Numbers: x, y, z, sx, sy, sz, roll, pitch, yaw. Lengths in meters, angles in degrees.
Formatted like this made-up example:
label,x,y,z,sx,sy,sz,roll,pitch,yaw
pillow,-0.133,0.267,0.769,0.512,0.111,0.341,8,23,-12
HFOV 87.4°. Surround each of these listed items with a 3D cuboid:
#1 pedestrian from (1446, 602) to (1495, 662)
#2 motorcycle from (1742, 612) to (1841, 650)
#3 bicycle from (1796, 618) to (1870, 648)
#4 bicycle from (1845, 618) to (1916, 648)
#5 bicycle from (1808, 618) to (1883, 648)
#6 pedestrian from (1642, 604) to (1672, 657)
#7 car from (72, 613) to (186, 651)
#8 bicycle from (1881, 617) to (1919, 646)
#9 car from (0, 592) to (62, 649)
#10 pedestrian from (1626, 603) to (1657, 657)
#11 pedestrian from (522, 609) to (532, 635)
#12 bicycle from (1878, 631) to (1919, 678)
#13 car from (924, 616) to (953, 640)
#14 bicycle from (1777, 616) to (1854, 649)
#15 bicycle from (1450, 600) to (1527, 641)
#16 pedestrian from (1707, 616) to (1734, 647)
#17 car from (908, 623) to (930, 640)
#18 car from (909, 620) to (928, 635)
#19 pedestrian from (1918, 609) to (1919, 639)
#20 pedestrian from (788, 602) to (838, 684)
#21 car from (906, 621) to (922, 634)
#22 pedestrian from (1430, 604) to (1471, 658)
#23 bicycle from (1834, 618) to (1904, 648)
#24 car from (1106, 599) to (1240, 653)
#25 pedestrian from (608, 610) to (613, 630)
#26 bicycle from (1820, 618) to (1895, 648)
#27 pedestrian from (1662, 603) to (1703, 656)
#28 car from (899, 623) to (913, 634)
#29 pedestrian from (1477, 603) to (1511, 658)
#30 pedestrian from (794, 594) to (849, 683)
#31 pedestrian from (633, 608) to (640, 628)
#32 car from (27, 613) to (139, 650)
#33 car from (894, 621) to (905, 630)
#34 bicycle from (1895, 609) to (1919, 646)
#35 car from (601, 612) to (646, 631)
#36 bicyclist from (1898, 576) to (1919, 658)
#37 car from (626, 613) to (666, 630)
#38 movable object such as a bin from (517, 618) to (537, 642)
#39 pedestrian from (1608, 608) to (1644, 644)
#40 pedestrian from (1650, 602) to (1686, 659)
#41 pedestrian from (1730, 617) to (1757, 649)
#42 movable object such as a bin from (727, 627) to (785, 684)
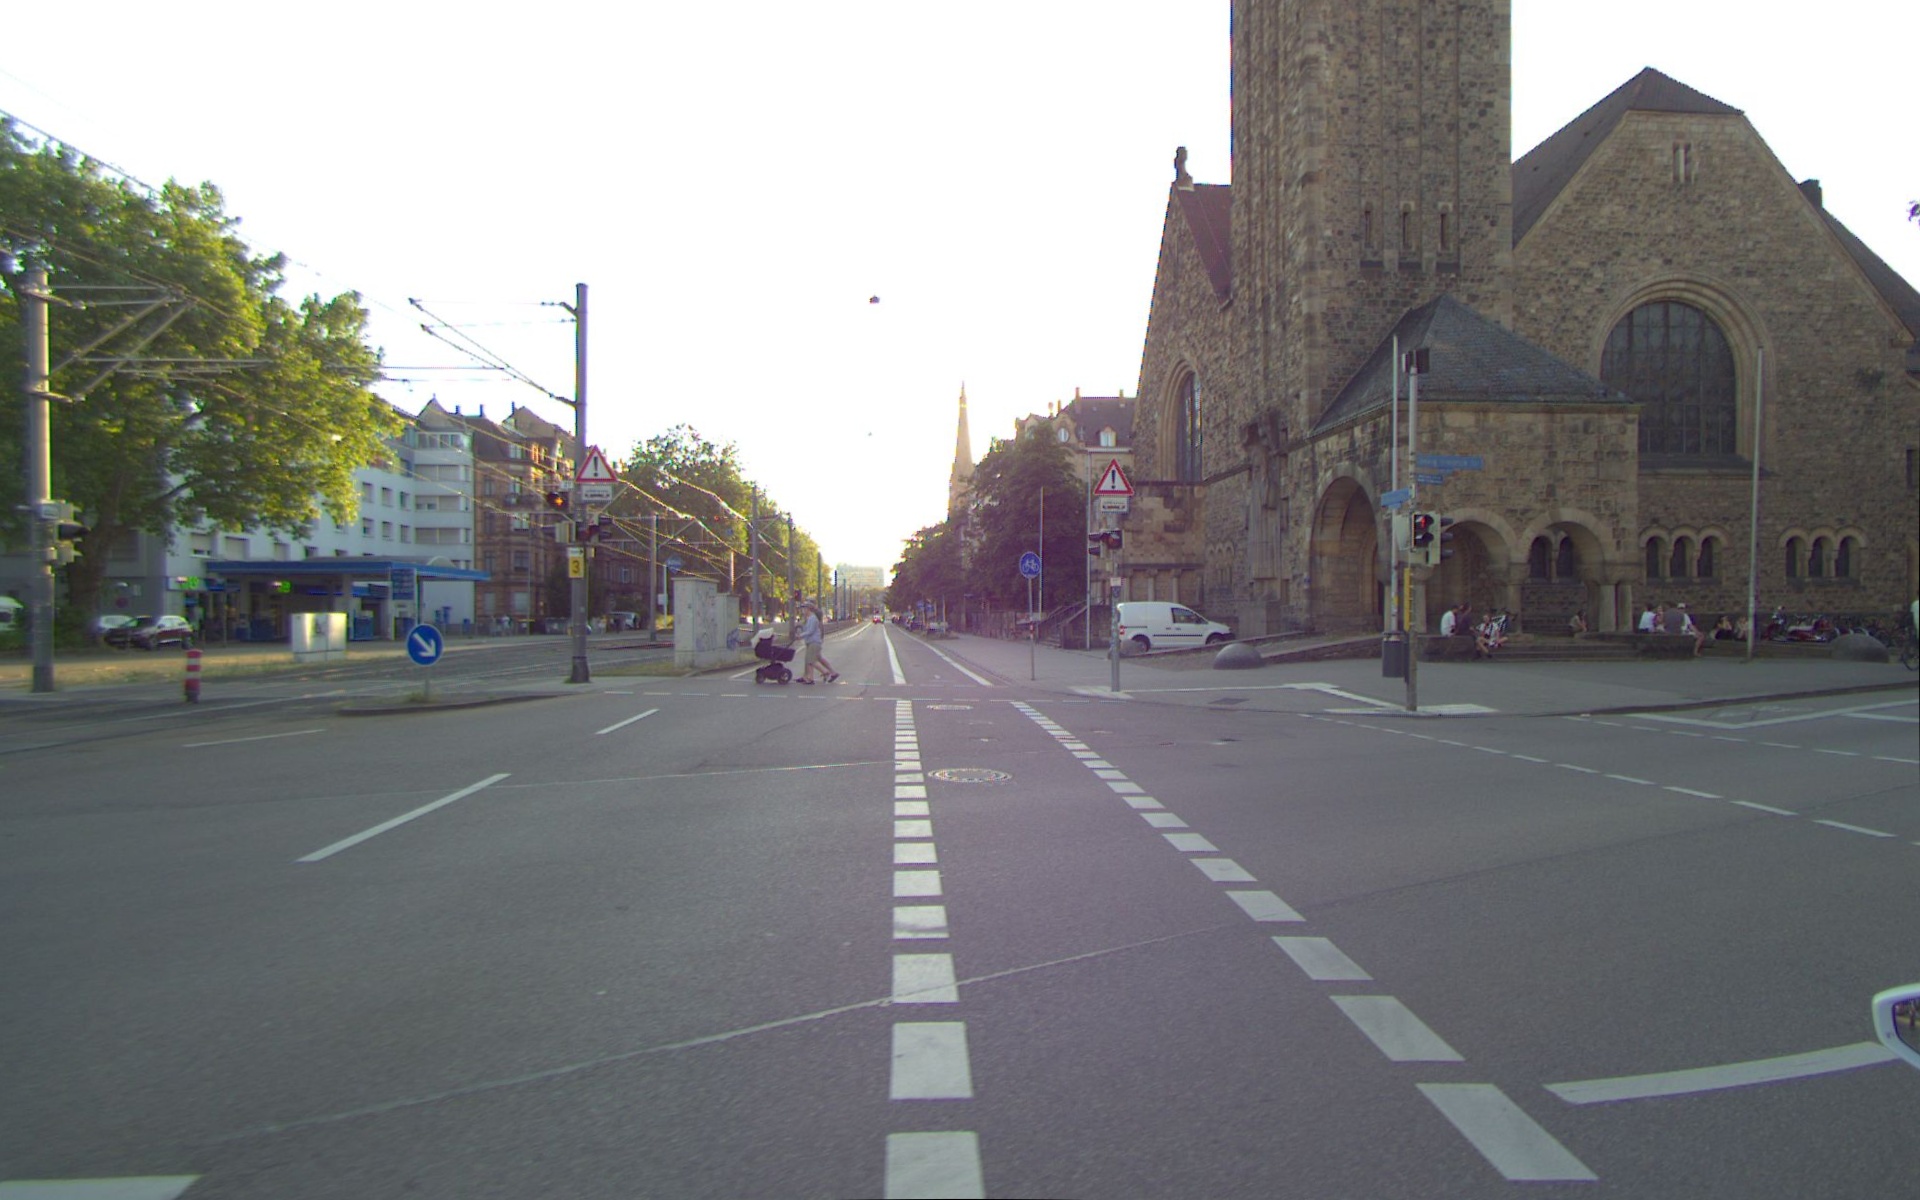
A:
label,x,y,z,sx,sy,sz,roll,pitch,yaw
pedestrian,12.804,0.796,25.216,0.897,1.473,0.630,0,-1,-3
motorcycle,27.528,1.009,33.318,0.811,1.141,2.407,0,1,-25
bicycle,29.652,1.108,34.166,0.458,1.002,2.003,0,-1,-14
bicycle,31.545,1.112,34.456,0.364,1.002,1.879,0,-1,-14
bicycle,30.150,1.108,34.238,0.458,1.002,2.003,0,-1,-14
pedestrian,18.952,0.830,27.333,0.449,1.425,0.548,0,-1,6
car,-37.854,1.434,45.900,1.961,1.634,3.999,0,-1,-2
bicycle,32.905,1.085,34.548,0.434,1.002,1.879,0,-1,-14
car,-45.656,0.955,47.403,1.962,2.653,5.575,0,-1,-5
pedestrian,18.129,0.802,26.724,0.537,1.425,0.402,0,-1,6
pedestrian,-33.468,1.706,77.707,0.547,2.040,0.608,0,-1,-4
bicycle,22.538,1.280,23.983,2.168,1.026,0.547,0,1,-38
car,-1.535,1.912,69.551,1.799,1.572,3.914,0,-1,-5
bicycle,28.999,1.083,34.077,0.576,1.003,2.002,0,2,-14
bicycle,14.622,0.562,27.877,0.584,1.071,2.281,0,-1,-11
pedestrian,24.255,1.007,32.046,0.551,0.980,0.649,-1,-1,27
car,-3.655,2.776,89.147,1.721,1.437,3.996,0,-1,-6
car,-4.276,2.823,102.664,1.721,1.437,3.996,0,-1,-6
pedestrian,34.507,0.856,35.648,0.596,1.062,0.498,0,0,-9
pedestrian,-3.049,0.884,20.850,0.989,1.656,0.719,0,0,-9
car,-5.511,3.223,119.462,1.721,1.437,3.996,0,-1,-6
pedestrian,12.669,0.797,25.957,0.685,1.393,0.804,0,-1,4
bicycle,31.095,1.112,34.393,0.364,1.002,1.879,0,-1,-14
car,7.388,0.901,35.101,4.321,1.832,1.584,0,-1,-3
pedestrian,-33.095,1.910,95.193,0.446,1.850,0.550,0,0,-22
bicycle,30.648,1.102,34.337,0.458,1.002,1.985,0,-1,-14
pedestrian,19.564,0.787,27.213,0.619,1.425,0.704,0,-1,6
car,-7.475,3.983,139.390,1.721,1.437,3.996,0,-1,-6
pedestrian,13.692,0.770,25.772,0.686,1.393,0.803,0,-1,22
pedestrian,-2.983,0.819,21.653,1.139,1.871,0.710,0,0,-9
pedestrian,-32.941,1.820,102.318,0.601,2.040,0.806,0,0,-7
car,-40.245,1.423,46.225,1.749,1.595,3.999,0,-1,-2
car,-11.161,4.681,184.539,1.721,1.437,3.996,0,-1,-6
bicycle,33.389,0.948,34.639,0.430,1.265,1.728,0,-1,-15
car,-37.162,2.361,110.961,4.409,2.040,1.998,0,-1,-7
bicyclist,22.726,0.387,23.665,0.933,1.905,0.701,0,1,-34
car,-37.687,2.552,120.615,4.299,2.040,1.997,0,-1,-9
movable object such as a bin,-38.542,2.668,89.435,1.478,2.040,1.347,0,-1,-34
pedestrian,21.360,0.828,32.219,0.672,1.109,1.333,0,-1,21
pedestrian,18.365,0.782,26.061,0.546,1.472,0.550,0,-1,6
pedestrian,24.807,1.042,31.822,0.551,1.005,0.695,-1,-1,27
movable object such as a bin,-4.204,1.132,20.774,1.117,1.134,0.861,0,-1,-9
